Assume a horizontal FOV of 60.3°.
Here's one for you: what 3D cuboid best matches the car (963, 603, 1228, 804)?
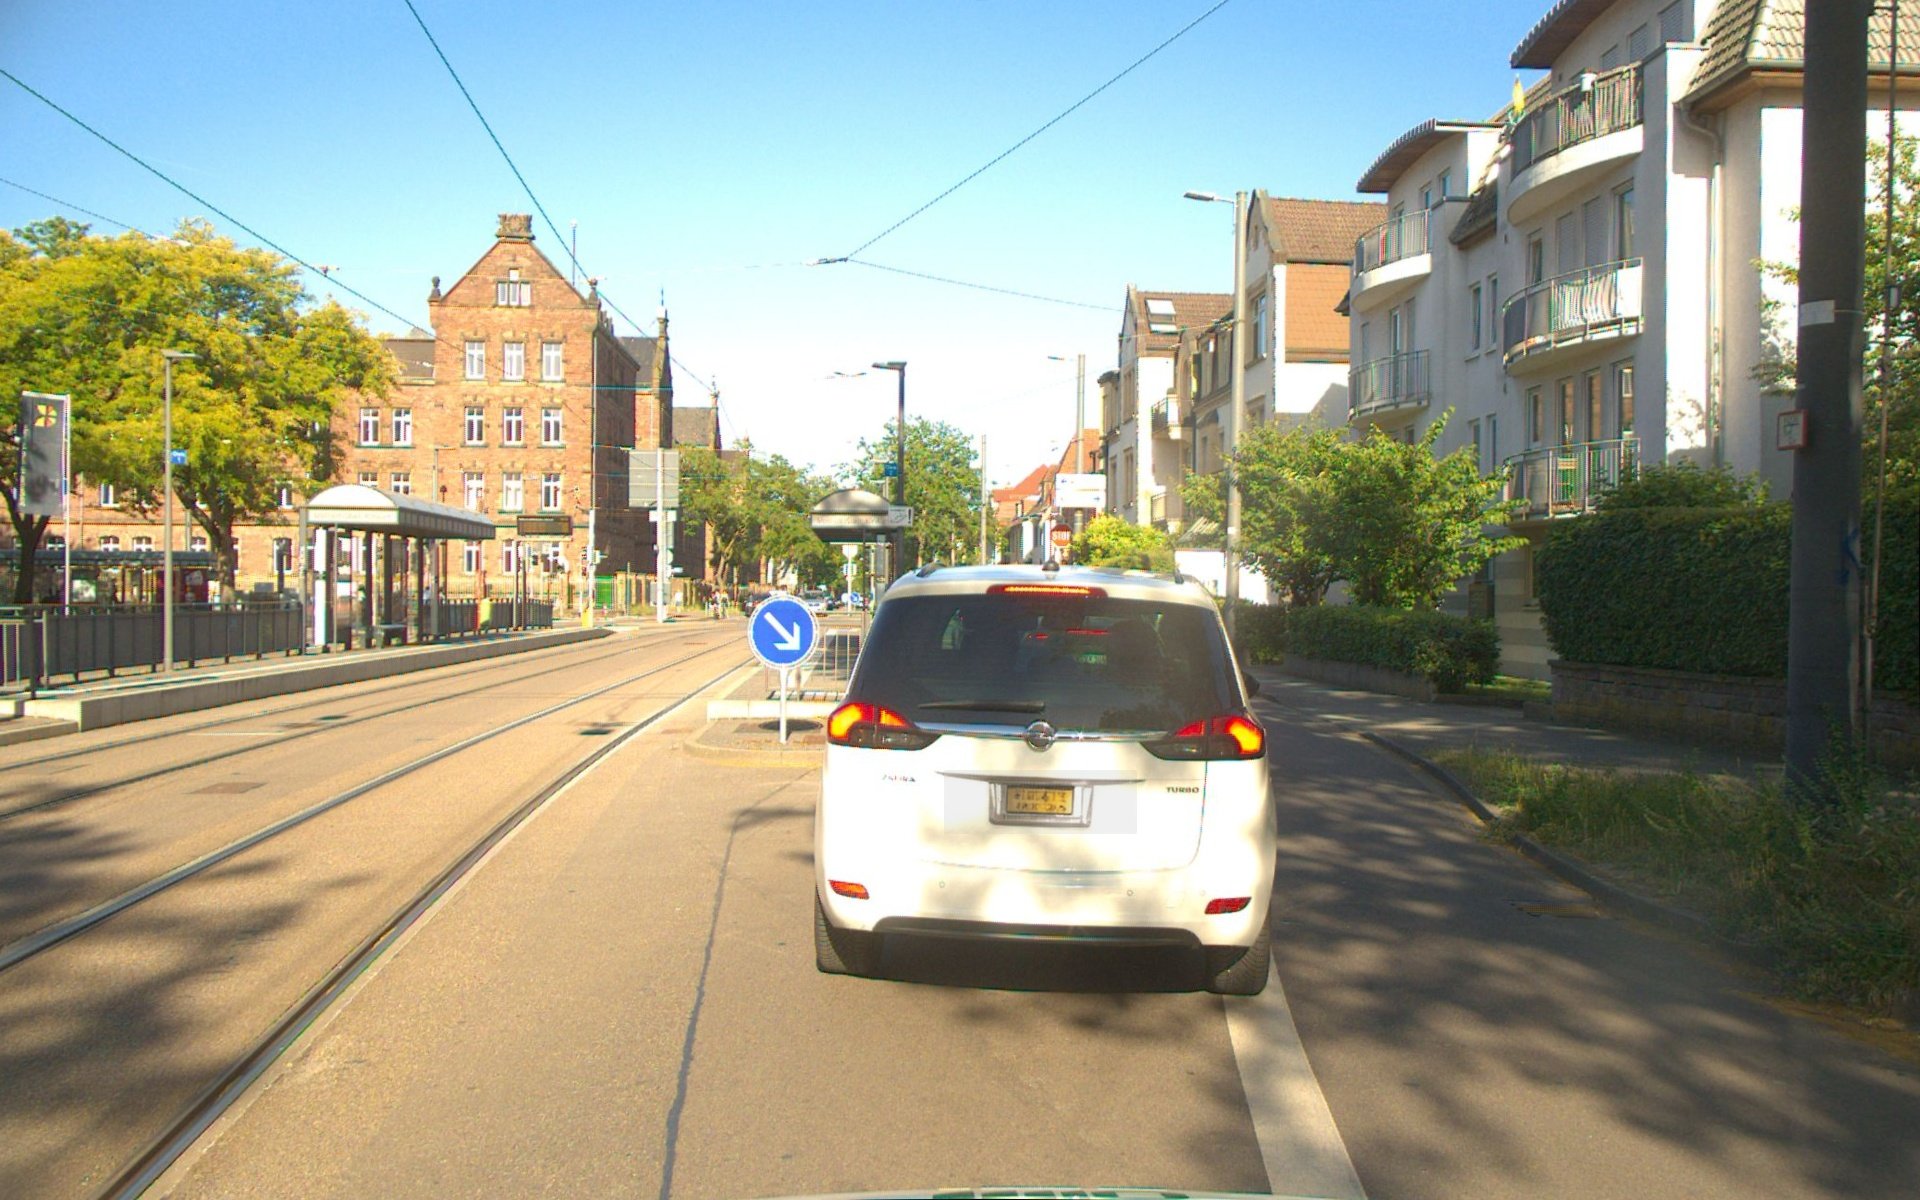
[{"bbox_3d":[1.034,0.752,13.986,1.912,1.422,4.001,0,0,1],"label":"car"}]

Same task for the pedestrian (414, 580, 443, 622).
[{"bbox_3d":[-22.137,0.029,68.927,0.877,1.713,1.029,1,0,-1],"label":"pedestrian"}]

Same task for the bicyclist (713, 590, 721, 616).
[{"bbox_3d":[-15.154,0.184,103.048,0.435,1.580,0.742,0,0,-4],"label":"bicyclist"}]

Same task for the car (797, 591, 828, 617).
[{"bbox_3d":[-9.547,0.253,107.160,1.955,1.657,3.996,0,0,-5],"label":"car"}]

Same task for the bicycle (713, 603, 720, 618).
[{"bbox_3d":[-15.163,0.660,102.840,0.337,0.966,1.159,1,0,-4],"label":"bicycle"}]

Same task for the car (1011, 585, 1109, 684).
[{"bbox_3d":[1.716,0.555,29.272,1.603,1.629,3.855,0,0,1],"label":"car"}]

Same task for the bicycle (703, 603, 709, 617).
[{"bbox_3d":[-17.656,0.668,114.859,0.337,0.966,0.996,1,0,-4],"label":"bicycle"}]

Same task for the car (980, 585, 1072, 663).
[{"bbox_3d":[1.381,0.497,36.192,1.793,1.607,4.009,0,0,-1],"label":"car"}]

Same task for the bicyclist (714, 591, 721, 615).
[{"bbox_3d":[-15.575,0.192,106.324,0.435,1.580,0.495,0,0,-4],"label":"bicyclist"}]

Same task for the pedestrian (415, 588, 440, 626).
[{"bbox_3d":[-22.724,0.297,70.596,0.786,1.616,0.934,1,0,-3],"label":"pedestrian"}]

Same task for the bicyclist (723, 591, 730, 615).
[{"bbox_3d":[-15.384,0.207,108.911,0.435,1.580,0.495,0,0,-4],"label":"bicyclist"}]

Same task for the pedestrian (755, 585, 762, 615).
[{"bbox_3d":[-13.648,0.014,111.768,0.435,2.049,0.495,0,0,-4],"label":"pedestrian"}]

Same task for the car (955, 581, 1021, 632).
[{"bbox_3d":[0.831,0.197,51.769,1.953,1.529,3.999,0,0,-1],"label":"car"}]

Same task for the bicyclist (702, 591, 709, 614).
[{"bbox_3d":[-17.650,0.192,114.823,0.435,1.580,0.495,0,0,-4],"label":"bicyclist"}]

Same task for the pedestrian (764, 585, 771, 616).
[{"bbox_3d":[-13.070,0.025,112.044,0.435,2.049,0.495,0,0,-4],"label":"pedestrian"}]

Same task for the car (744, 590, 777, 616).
[{"bbox_3d":[-12.857,0.203,106.887,1.955,1.657,3.996,0,0,-5],"label":"car"}]

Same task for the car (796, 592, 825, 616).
[{"bbox_3d":[-10.352,0.269,114.254,1.955,1.657,3.996,0,0,-5],"label":"car"}]

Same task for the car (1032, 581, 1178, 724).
[{"bbox_3d":[1.743,0.589,20.844,1.603,1.629,3.855,0,0,1],"label":"car"}]

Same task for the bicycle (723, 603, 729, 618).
[{"bbox_3d":[-15.394,0.681,108.918,0.337,0.966,0.996,1,0,-4],"label":"bicycle"}]

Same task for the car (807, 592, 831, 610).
[{"bbox_3d":[-12.574,0.087,147.990,1.953,1.657,3.998,0,0,-3],"label":"car"}]

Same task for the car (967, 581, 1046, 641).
[{"bbox_3d":[1.202,0.263,44.313,1.953,1.529,3.999,0,0,-1],"label":"car"}]

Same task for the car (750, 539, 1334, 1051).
[{"bbox_3d":[0.460,0.652,7.598,1.951,1.673,3.996,1,0,6],"label":"car"}]

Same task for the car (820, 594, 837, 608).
[{"bbox_3d":[-15.981,0.140,200.918,1.955,1.657,3.984,0,0,-5],"label":"car"}]
